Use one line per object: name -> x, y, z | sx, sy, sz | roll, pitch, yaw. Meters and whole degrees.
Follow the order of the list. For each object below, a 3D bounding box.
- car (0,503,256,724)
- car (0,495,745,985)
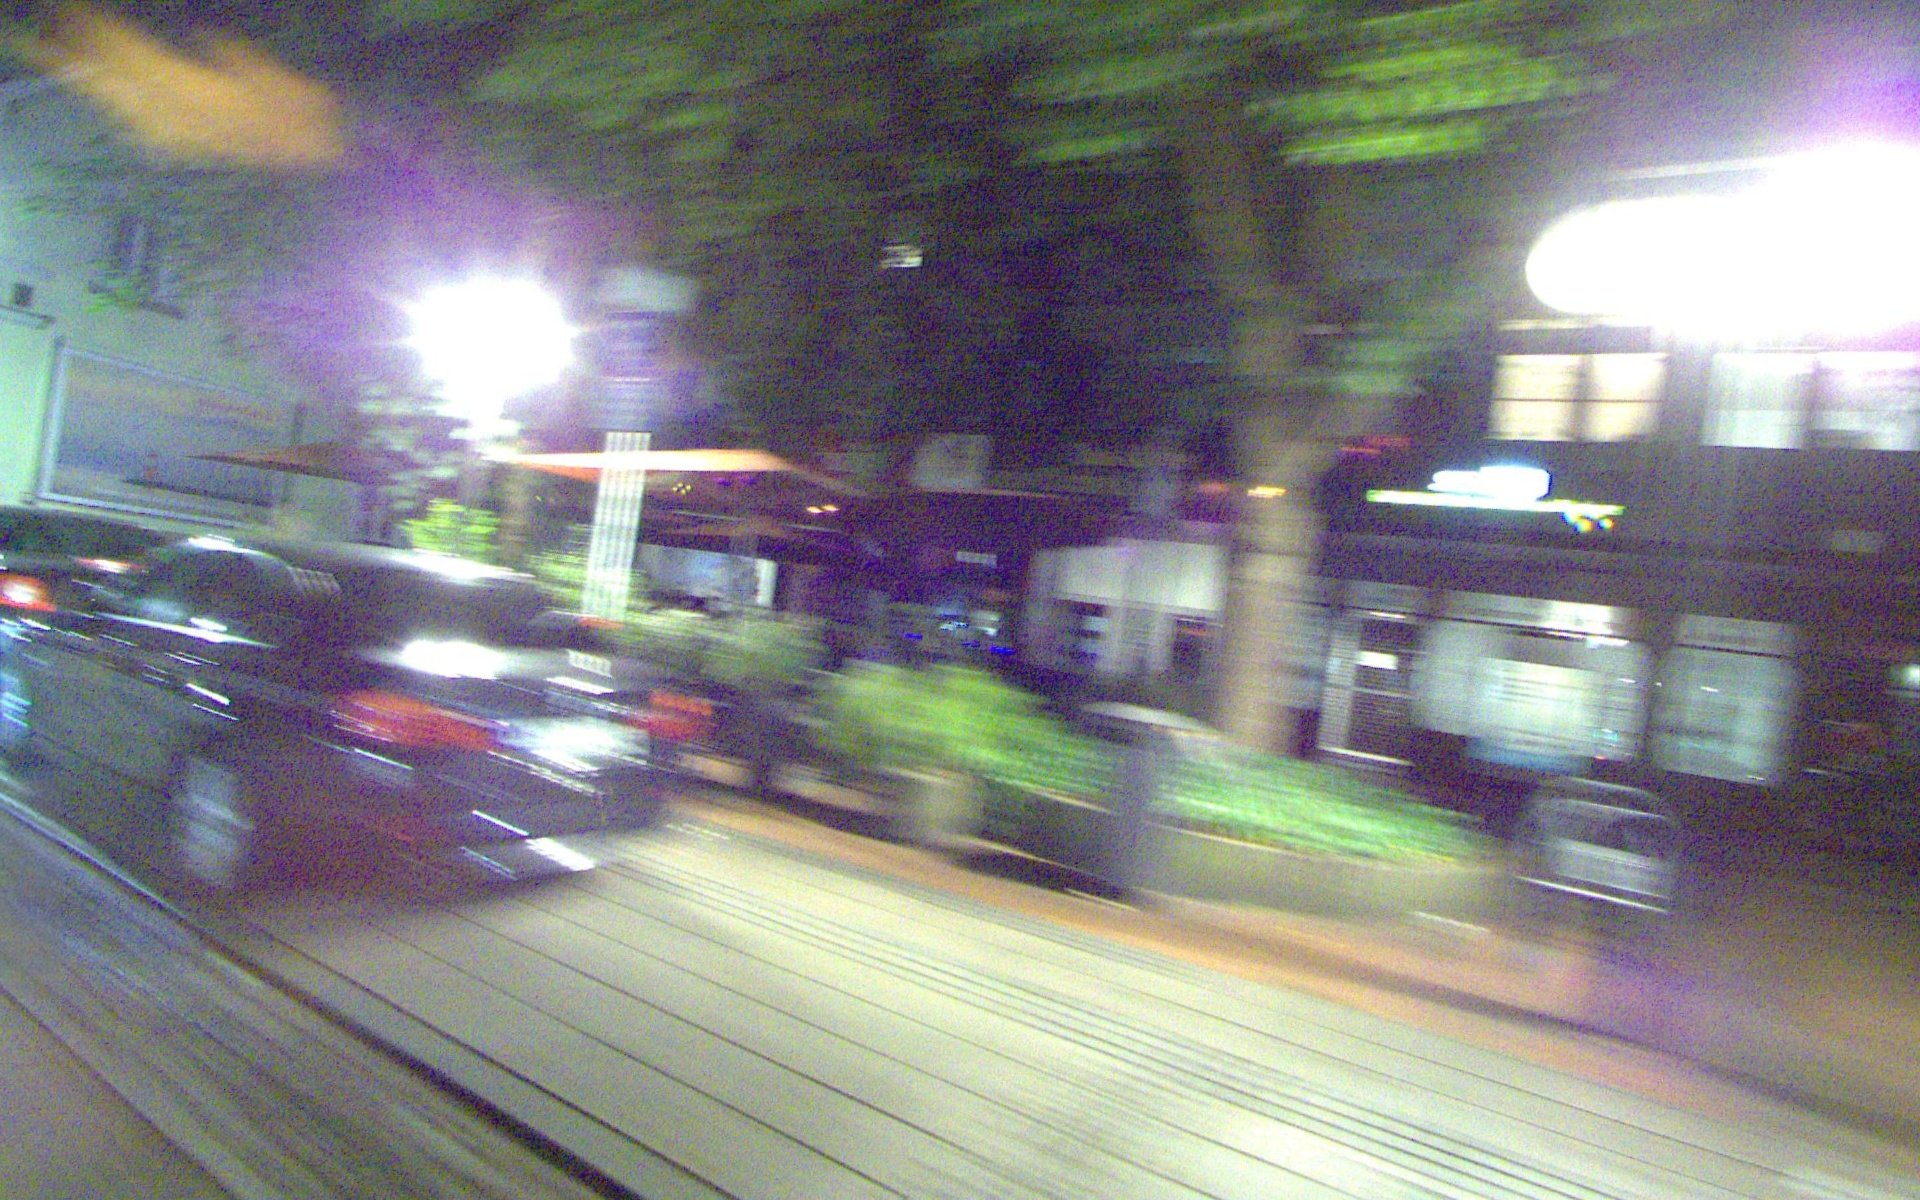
car -> -7.573, -0.038, 8.155 | 4.038, 1.394, 1.662 | 7, 0, 34
car -> -3.384, 0.399, 5.305 | 4.395, 1.482, 1.754 | 7, 0, 34
